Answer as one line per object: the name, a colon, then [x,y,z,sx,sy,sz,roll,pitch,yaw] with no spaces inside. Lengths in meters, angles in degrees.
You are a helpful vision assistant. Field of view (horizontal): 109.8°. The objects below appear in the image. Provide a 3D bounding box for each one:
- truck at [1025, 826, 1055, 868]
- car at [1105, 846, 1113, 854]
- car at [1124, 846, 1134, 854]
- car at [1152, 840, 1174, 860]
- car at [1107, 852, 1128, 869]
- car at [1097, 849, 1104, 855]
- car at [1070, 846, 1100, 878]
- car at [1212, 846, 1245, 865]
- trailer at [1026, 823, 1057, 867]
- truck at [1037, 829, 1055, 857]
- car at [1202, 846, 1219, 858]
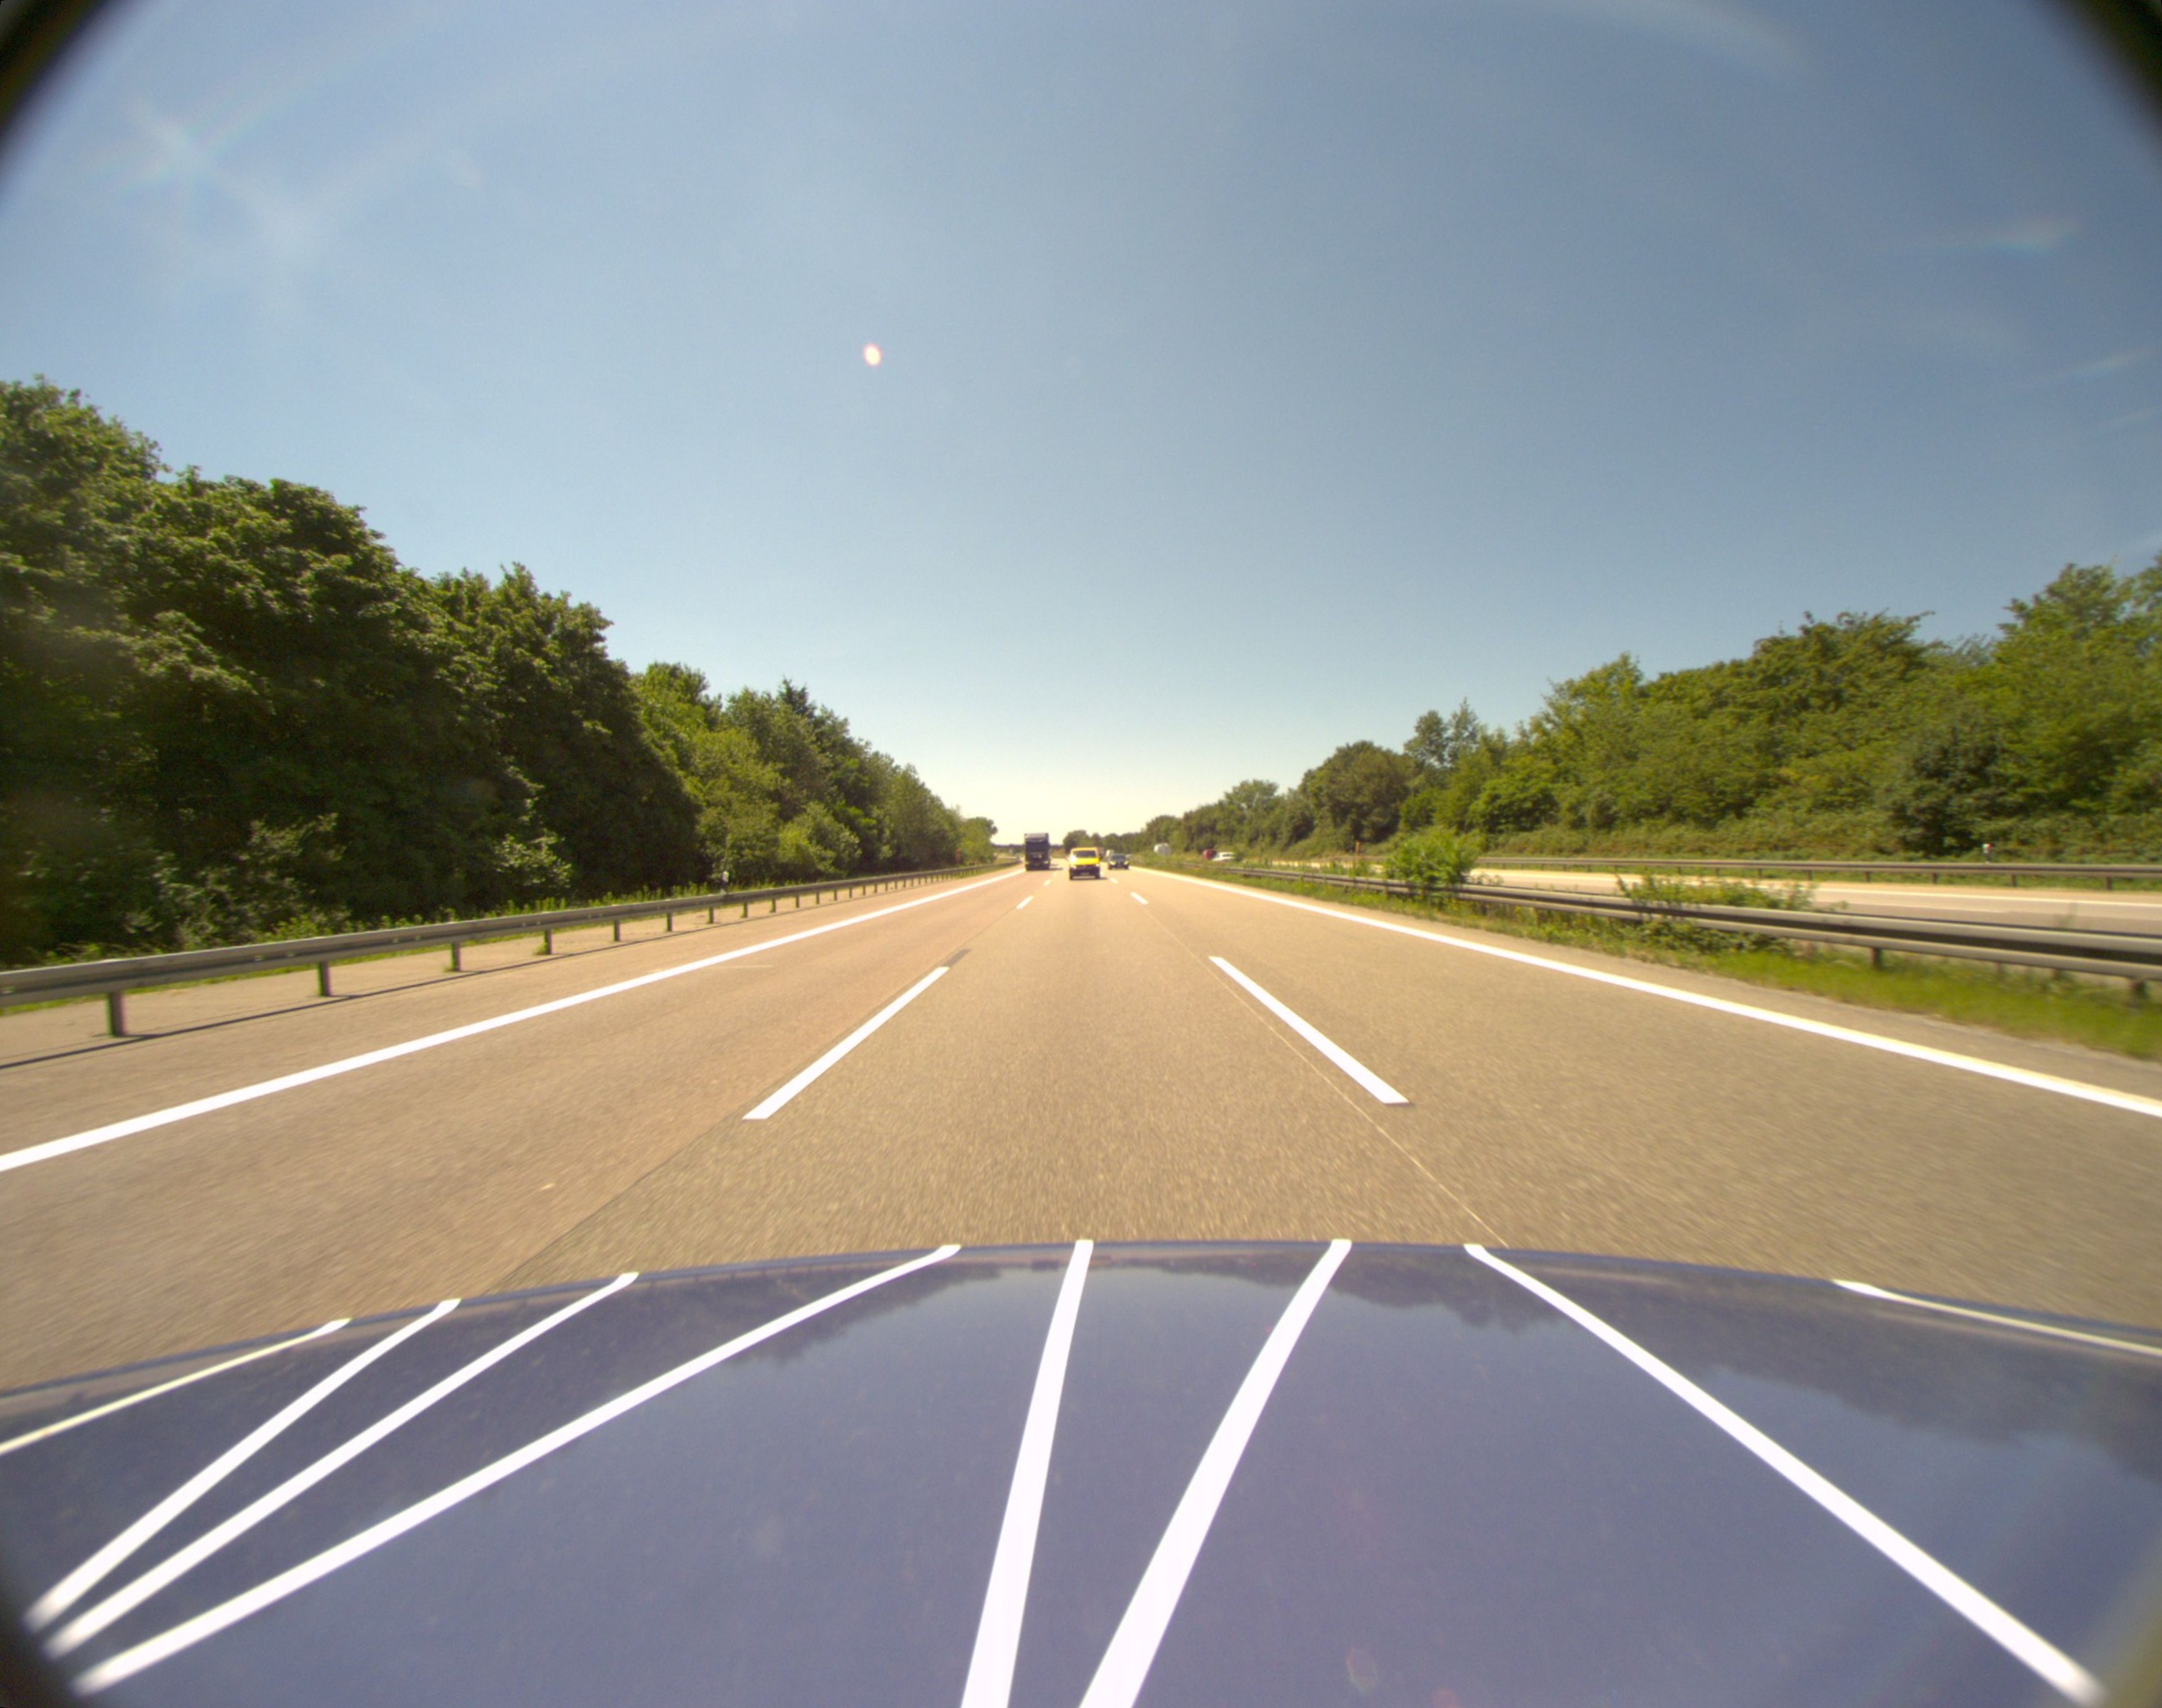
truck: [-4.347,-0.726,81.197,2.915,4.231,4.974,-2,1,-1]
car: [9.338,-1.212,252.533,2.235,2.561,7.389,0,0,-3]
car: [9.775,-0.849,154.939,1.767,1.504,4.392,-2,0,-1]
car: [11.912,-0.582,110.744,2.094,2.762,5.826,-2,0,-3]
car: [3.500,0.607,72.621,1.726,1.478,3.999,-1,0,-1]
car: [6.151,-0.691,241.372,1.831,1.895,4.954,-1,0,-3]
car: [0.191,0.458,47.273,1.777,1.882,3.832,0,1,-1]
car: [12.714,0.123,65.687,1.843,1.527,4.919,-1,0,-1]
trailer: [-4.438,-0.972,88.491,2.908,4.630,13.983,-2,0,-1]
truck: [-5.538,-1.772,121.000,2.608,4.232,5.086,-2,1,-3]
car: [19.320,-0.293,113.616,1.708,1.766,4.766,-2,0,-1]
